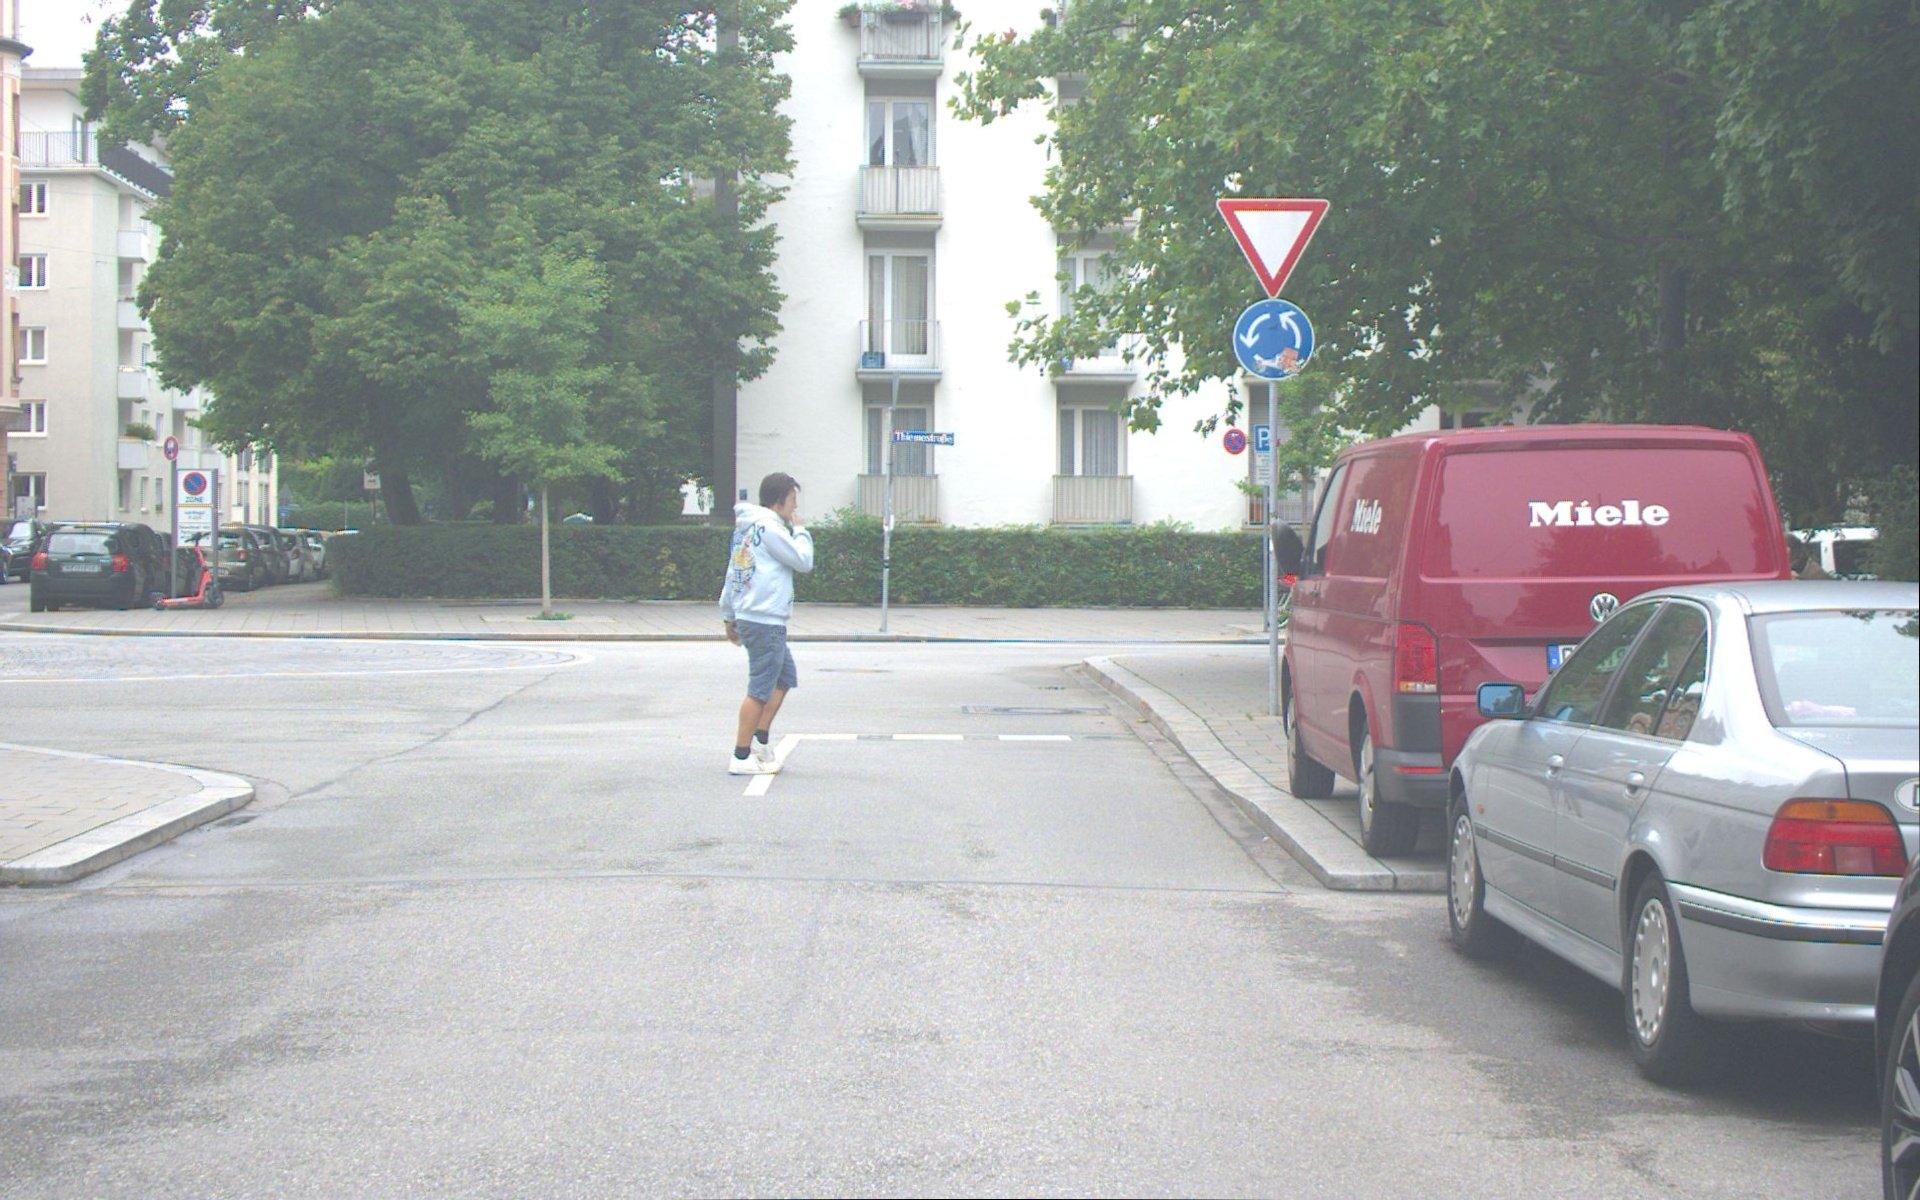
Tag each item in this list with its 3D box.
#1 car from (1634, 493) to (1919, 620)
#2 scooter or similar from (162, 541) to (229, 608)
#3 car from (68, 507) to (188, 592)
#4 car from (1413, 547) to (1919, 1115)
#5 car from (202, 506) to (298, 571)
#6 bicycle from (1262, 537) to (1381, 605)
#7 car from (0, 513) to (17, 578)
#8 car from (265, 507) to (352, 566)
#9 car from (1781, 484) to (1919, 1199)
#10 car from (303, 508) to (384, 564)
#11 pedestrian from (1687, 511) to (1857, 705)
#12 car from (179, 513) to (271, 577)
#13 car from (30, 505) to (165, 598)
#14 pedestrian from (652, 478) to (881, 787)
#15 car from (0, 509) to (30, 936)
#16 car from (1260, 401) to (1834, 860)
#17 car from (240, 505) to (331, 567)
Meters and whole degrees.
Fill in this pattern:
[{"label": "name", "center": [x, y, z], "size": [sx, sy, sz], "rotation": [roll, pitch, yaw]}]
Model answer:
[{"label": "car", "center": [13.051, -0.660, 53.125], "size": [4.831, 1.912, 1.836], "rotation": [0, 0, -9]}, {"label": "scooter or similar", "center": [-12.524, -0.415, 56.308], "size": [0.999, 1.085, 0.390], "rotation": [0, 1, -31]}, {"label": "car", "center": [-15.484, -0.969, 64.121], "size": [1.793, 1.500, 4.236], "rotation": [-1, 2, -9]}, {"label": "car", "center": [2.862, 0.604, 11.361], "size": [1.884, 1.443, 4.369], "rotation": [2, 1, -3]}, {"label": "car", "center": [-18.560, -1.637, 90.044], "size": [1.835, 1.629, 4.116], "rotation": [-1, 2, -3]}, {"label": "bicycle", "center": [5.740, -0.464, 54.550], "size": [1.824, 1.045, 0.492], "rotation": [0, 1, -14]}, {"label": "car", "center": [-24.601, -1.335, 84.171], "size": [1.975, 1.575, 4.409], "rotation": [0, 2, -2]}, {"label": "car", "center": [-18.875, -1.863, 99.751], "size": [1.835, 1.629, 3.820], "rotation": [-1, 2, -1]}, {"label": "car", "center": [2.886, 0.666, 5.262], "size": [1.884, 1.647, 4.825], "rotation": [2, 1, -2]}, {"label": "car", "center": [-18.773, -1.953, 104.836], "size": [1.835, 1.629, 3.820], "rotation": [-1, 2, -1]}, {"label": "pedestrian", "center": [5.688, 0.043, 24.130], "size": [1.009, 1.333, 0.876], "rotation": [0, 1, 3]}, {"label": "car", "center": [-18.240, -1.388, 85.445], "size": [1.835, 1.500, 4.116], "rotation": [-1, 2, -7]}, {"label": "car", "center": [-14.737, -0.858, 58.909], "size": [1.818, 1.500, 4.424], "rotation": [-1, 2, -9]}, {"label": "pedestrian", "center": [-1.144, 0.172, 20.280], "size": [1.048, 1.765, 0.876], "rotation": [-1, 1, -33]}, {"label": "car", "center": [-4.438, 0.525, 11.027], "size": [1.746, 1.596, 4.497], "rotation": [-1, 1, -1]}, {"label": "car", "center": [2.712, 0.067, 17.083], "size": [1.874, 1.914, 4.888], "rotation": [1, 1, -1]}, {"label": "car", "center": [-18.760, -1.797, 95.707], "size": [1.835, 1.629, 3.820], "rotation": [-1, 2, -1]}]
